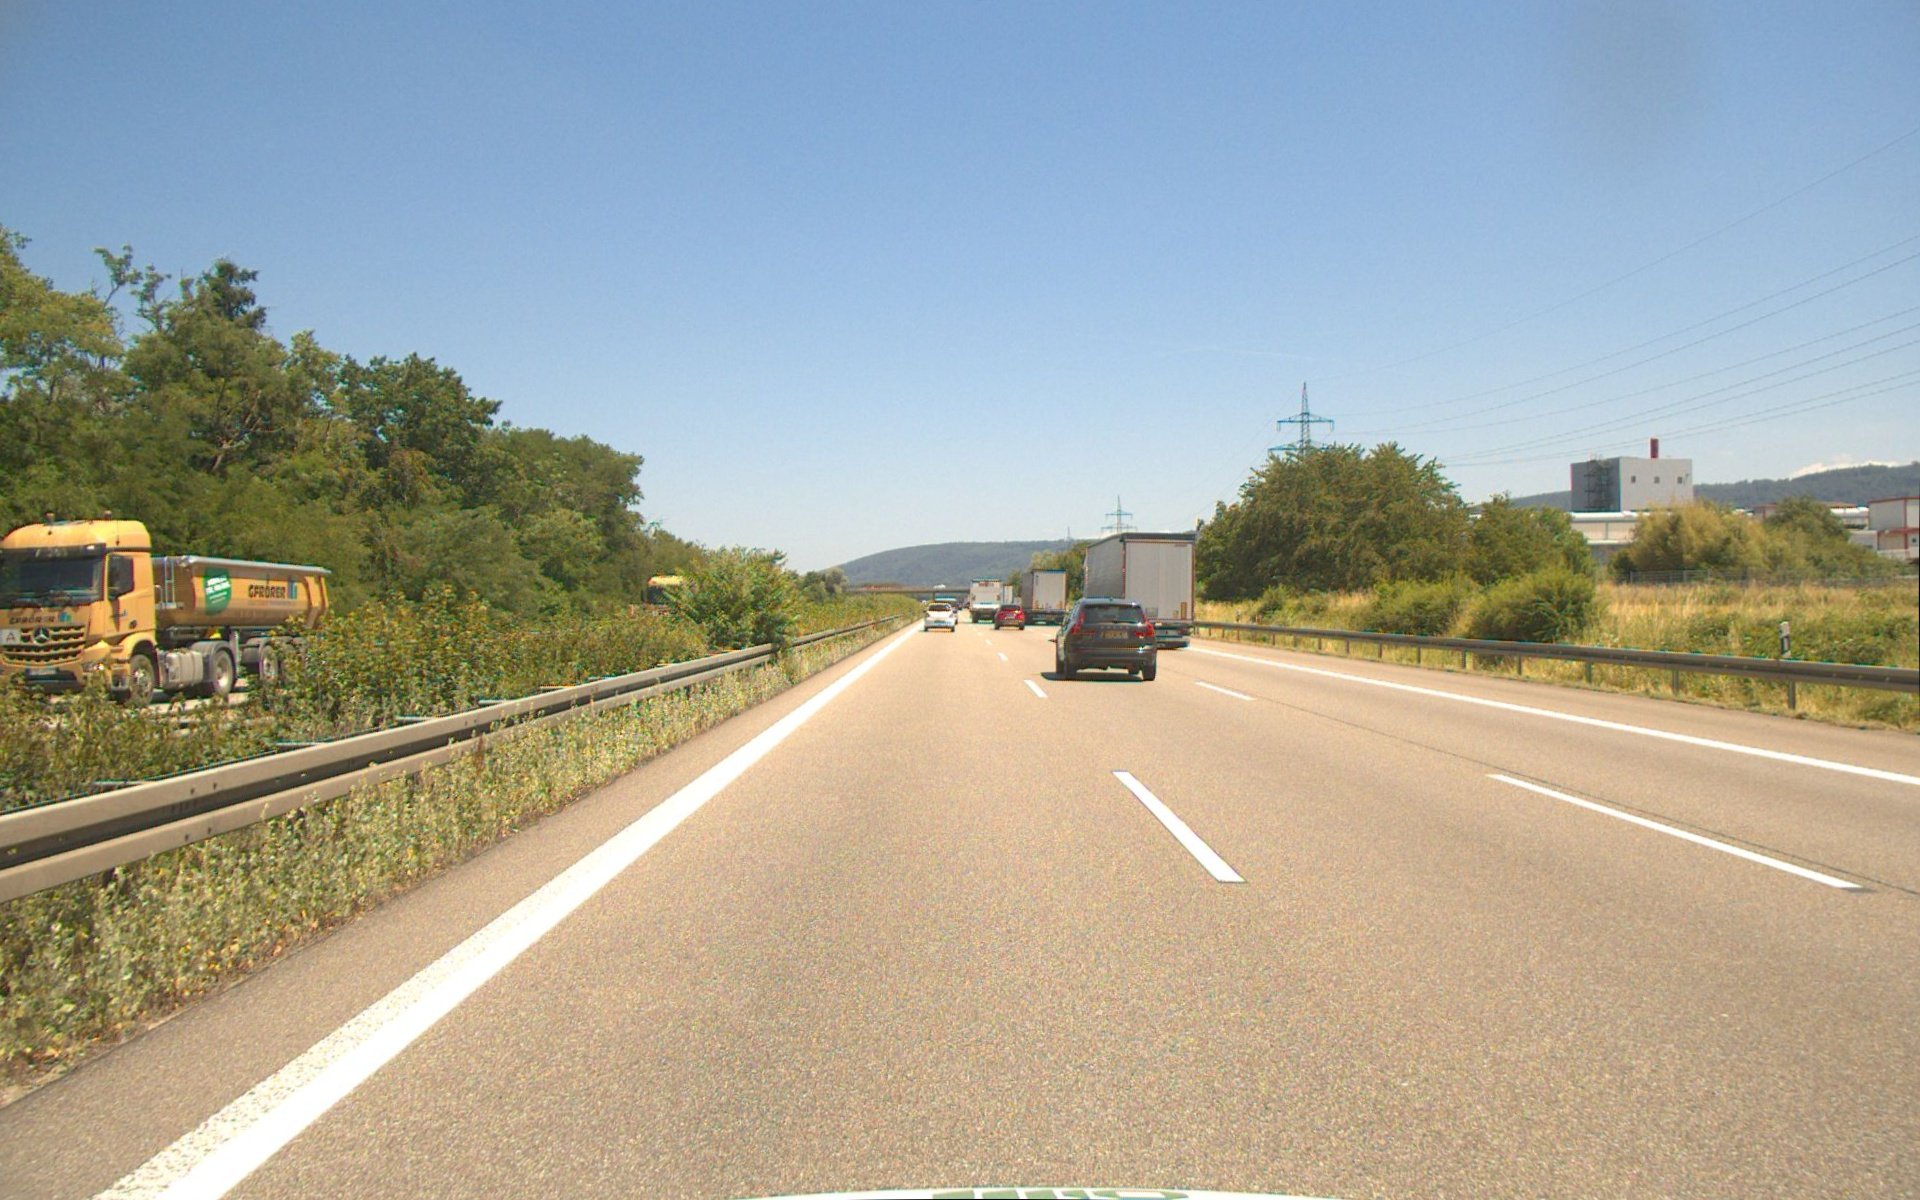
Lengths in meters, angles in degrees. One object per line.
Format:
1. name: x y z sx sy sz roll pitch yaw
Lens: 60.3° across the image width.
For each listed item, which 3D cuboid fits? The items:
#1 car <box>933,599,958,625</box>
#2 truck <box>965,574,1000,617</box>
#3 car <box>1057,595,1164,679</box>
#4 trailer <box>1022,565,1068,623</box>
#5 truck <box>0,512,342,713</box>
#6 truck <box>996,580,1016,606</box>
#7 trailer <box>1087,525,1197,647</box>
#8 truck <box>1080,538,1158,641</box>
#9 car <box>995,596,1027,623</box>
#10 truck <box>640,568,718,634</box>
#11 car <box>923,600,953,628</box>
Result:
1. car: -1.083 0.860 122.256 1.725 1.883 3.999 -1 0 -1
2. truck: 1.804 -0.342 135.832 2.725 3.432 8.126 1 0 -1
3. car: 3.107 0.732 34.831 1.835 1.652 4.003 0 0 -1
4. trailer: 6.464 -0.409 127.559 2.732 4.237 13.573 -1 0 0
5. truck: -17.340 0.262 37.096 2.487 3.698 11.842 -2 0 -1
6. truck: 5.994 -0.894 214.960 2.176 3.265 10.383 -1 0 0
7. trailer: 6.764 -0.458 63.527 2.680 4.178 13.120 0 0 0
8. truck: 6.716 -0.437 70.676 2.680 4.192 6.124 0 0 -1
9. car: 3.086 0.563 100.494 1.766 1.572 3.999 0 0 0
10. truck: -17.477 0.026 103.776 2.840 3.770 11.897 -3 0 0
11. car: -1.223 0.750 90.373 1.575 1.493 3.999 -1 0 -1
